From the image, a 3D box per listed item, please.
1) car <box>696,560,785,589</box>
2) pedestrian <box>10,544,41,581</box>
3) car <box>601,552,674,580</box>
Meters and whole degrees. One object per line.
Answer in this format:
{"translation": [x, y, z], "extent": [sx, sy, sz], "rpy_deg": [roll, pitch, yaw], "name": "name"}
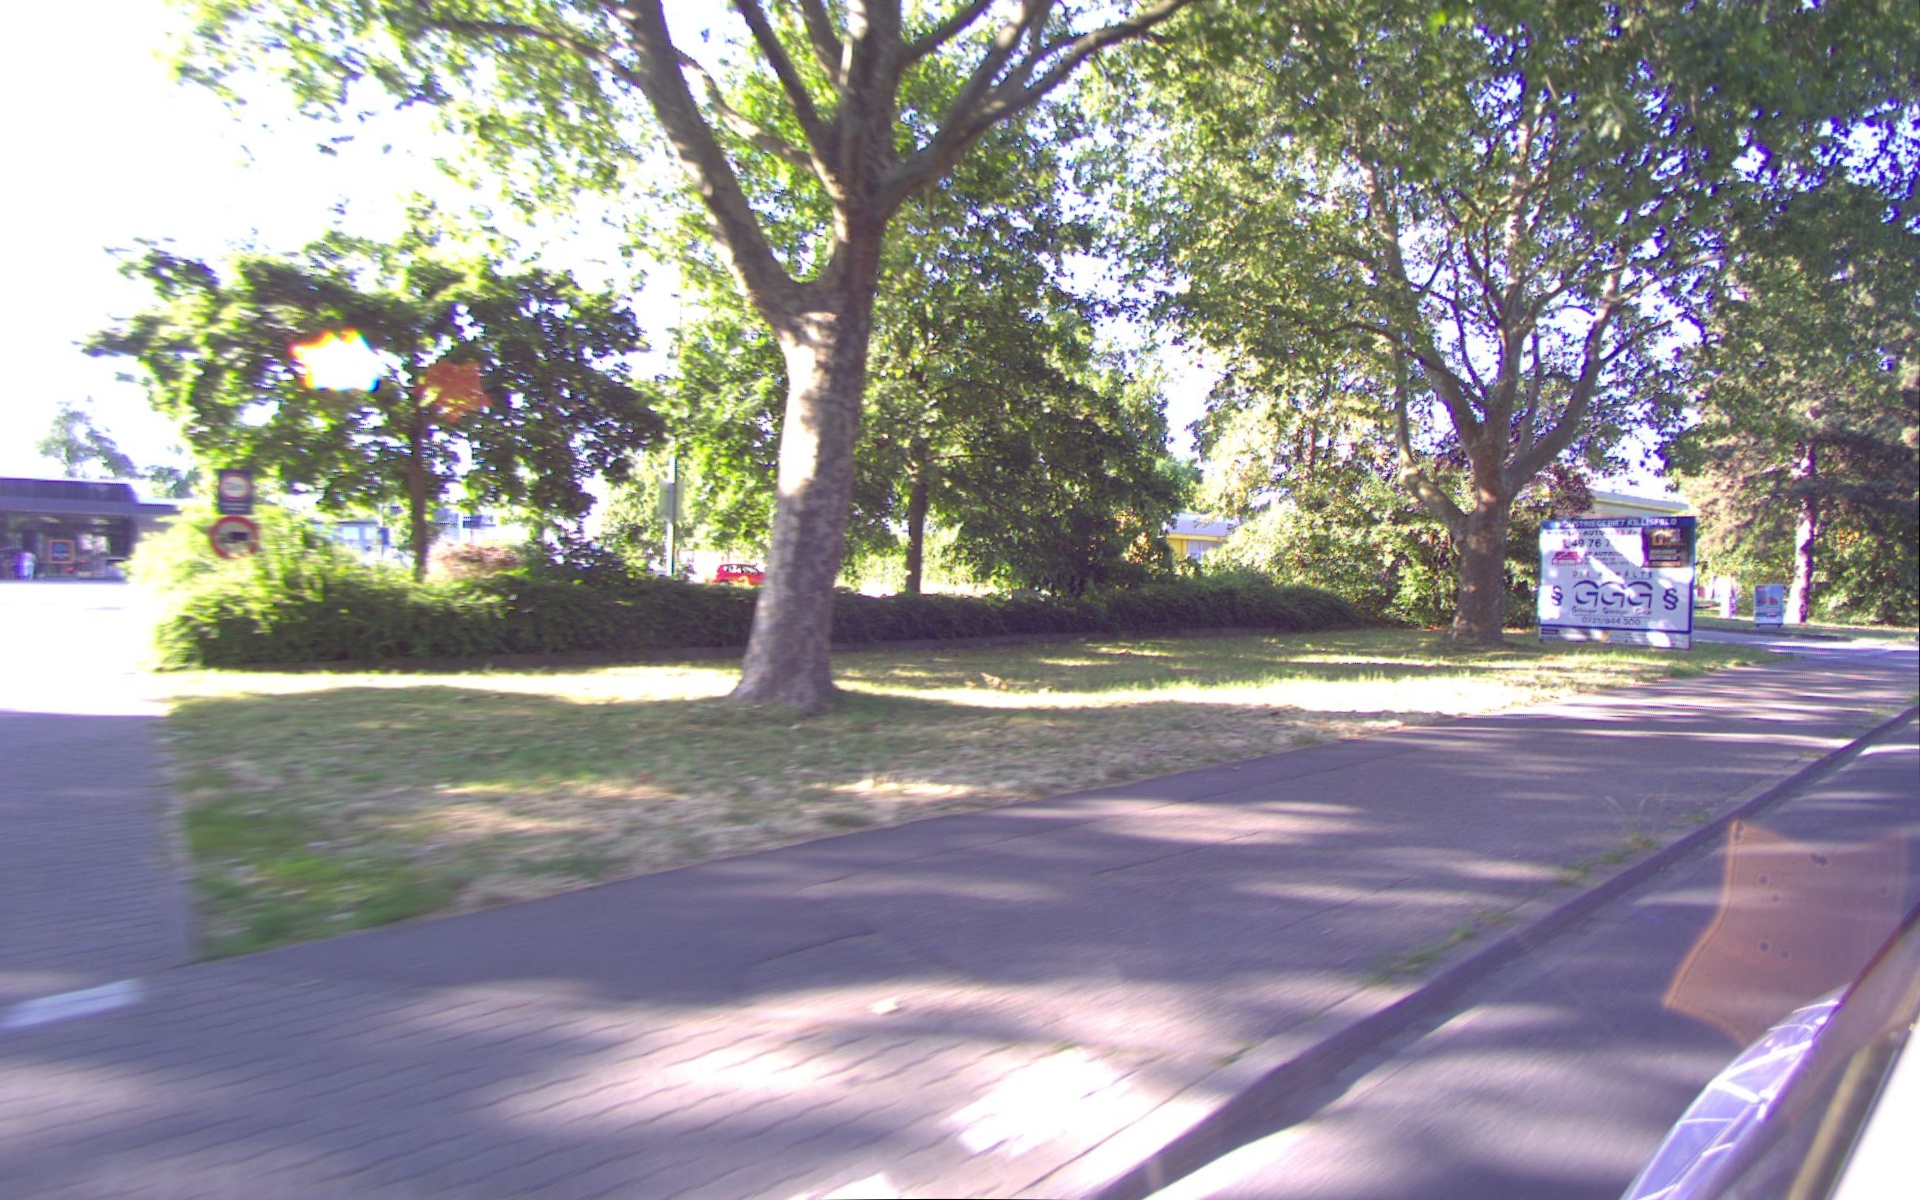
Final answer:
{"translation": [-10.994, -1.283, 50.823], "extent": [3.924, 1.371, 2.001], "rpy_deg": [0, 2, -35], "name": "car"}
{"translation": [-46.300, -1.844, 50.159], "extent": [1.025, 1.759, 0.940], "rpy_deg": [0, 0, -38], "name": "pedestrian"}
{"translation": [-19.944, -2.081, 62.620], "extent": [3.924, 1.638, 2.001], "rpy_deg": [0, 2, -35], "name": "car"}
